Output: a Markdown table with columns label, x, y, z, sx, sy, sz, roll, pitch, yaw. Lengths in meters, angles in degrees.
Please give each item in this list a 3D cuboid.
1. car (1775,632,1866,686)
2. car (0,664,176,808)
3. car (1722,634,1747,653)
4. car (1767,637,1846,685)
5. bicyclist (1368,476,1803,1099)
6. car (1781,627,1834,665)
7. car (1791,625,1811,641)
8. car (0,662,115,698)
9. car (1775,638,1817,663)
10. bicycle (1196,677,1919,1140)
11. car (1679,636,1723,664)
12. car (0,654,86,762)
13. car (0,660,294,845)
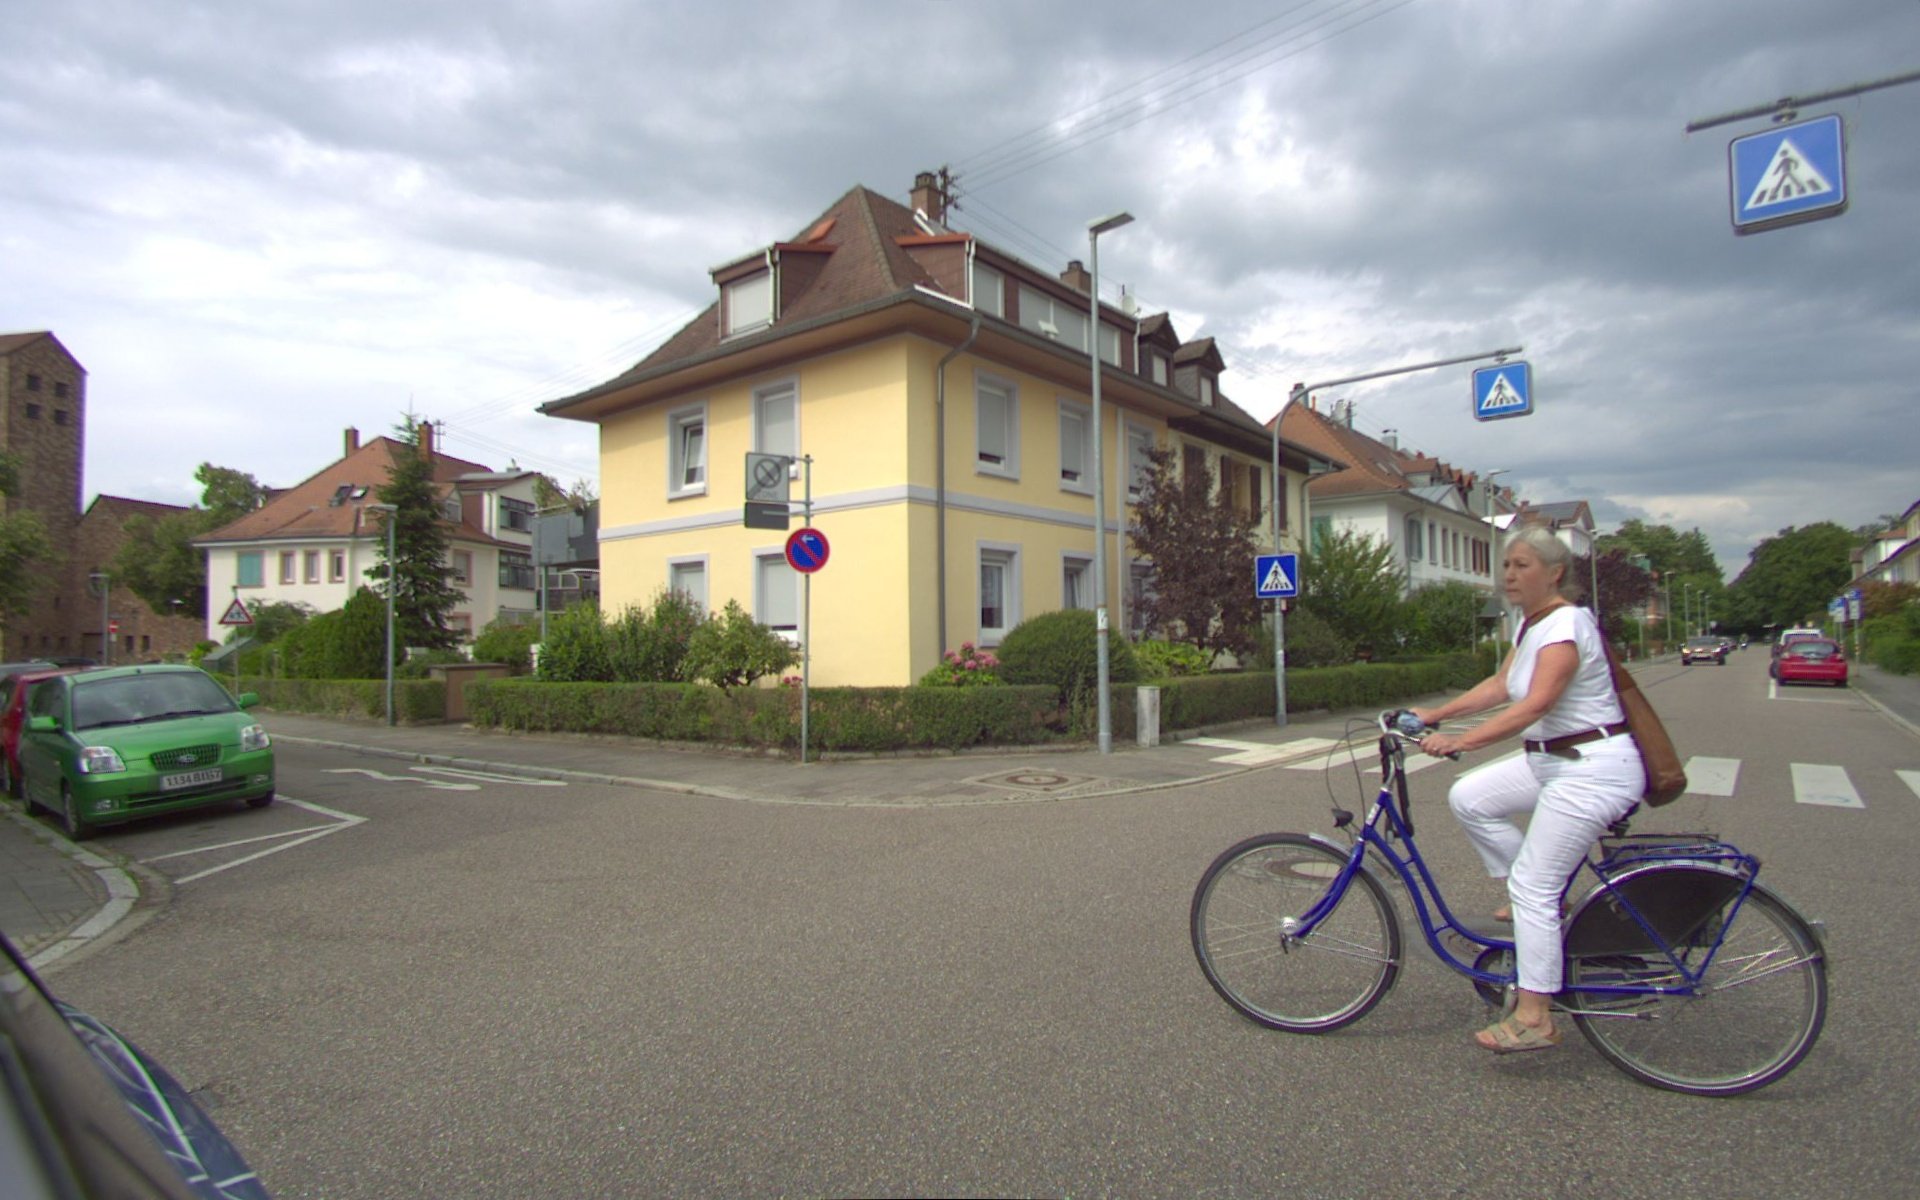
| label | x | y | z | sx | sy | sz | roll | pitch | yaw |
| --- | --- | --- | --- | --- | --- | --- | --- | --- | --- |
| car | 27.088 | 1.824 | 31.965 | 1.998 | 1.586 | 3.947 | -3 | -4 | 39 |
| car | -11.793 | 1.666 | 13.248 | 3.477 | 1.507 | 1.630 | -3 | 0 | 39 |
| car | 79.149 | 4.432 | 103.365 | 1.810 | 1.894 | 3.897 | -3 | -4 | 39 |
| car | 30.142 | 2.141 | 36.125 | 1.998 | 1.586 | 3.947 | -3 | -4 | 39 |
| bicyclist | 1.887 | 0.527 | 3.235 | 0.968 | 1.679 | 0.694 | -3 | -2 | 20 |
| car | 44.720 | 2.434 | 53.468 | 1.998 | 1.918 | 3.947 | -3 | -4 | 39 |
| car | 111.958 | 4.424 | 134.728 | 1.998 | 2.029 | 3.947 | -1 | -3 | 39 |
| car | -41.637 | 3.653 | 46.424 | 1.682 | 1.475 | 4.172 | -1 | -3 | 39 |
| car | 54.393 | 3.298 | 65.887 | 1.998 | 1.586 | 3.947 | -3 | -4 | 39 |
| bicycle | 1.770 | 0.869 | 3.269 | 1.858 | 1.161 | 0.703 | -3 | -2 | 20 |
| car | 40.811 | 2.734 | 55.737 | 1.834 | 1.497 | 3.949 | -1 | -3 | 38 |
| car | -15.227 | 1.672 | 15.900 | 3.477 | 1.507 | 1.630 | -3 | 0 | 39 |
| car | -8.328 | 1.400 | 10.251 | 3.477 | 1.432 | 1.630 | -3 | 0 | 39 |
